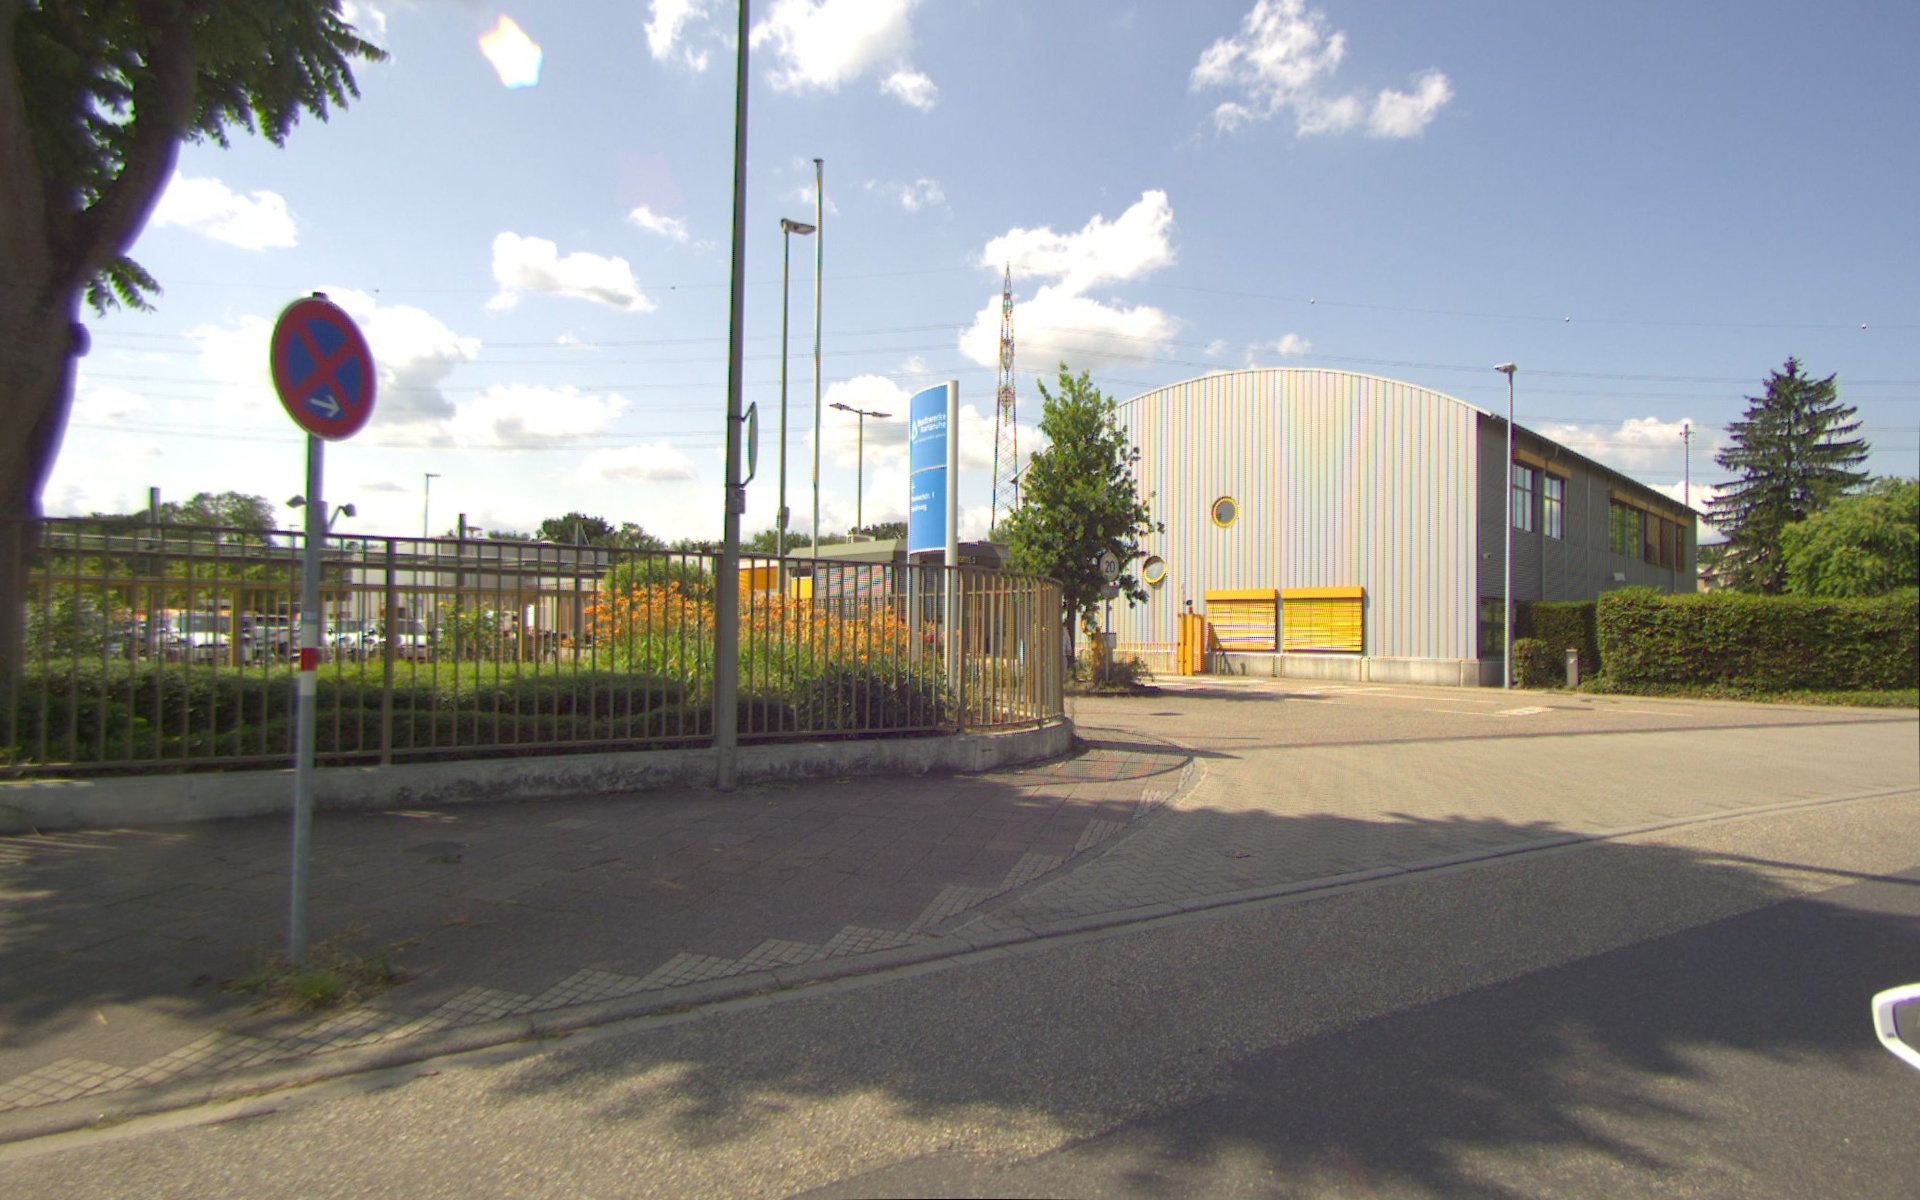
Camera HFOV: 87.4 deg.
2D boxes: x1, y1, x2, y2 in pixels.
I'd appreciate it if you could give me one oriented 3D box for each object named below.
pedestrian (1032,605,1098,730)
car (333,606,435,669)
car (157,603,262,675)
[{"bbox_3d":[1.492,0.956,14.292,0.724,1.714,0.546,3,-2,-25],"label":"pedestrian"},{"bbox_3d":[-17.683,1.113,30.776,1.737,1.711,3.947,2,-1,-45],"label":"car"},{"bbox_3d":[-20.196,1.000,26.973,1.737,1.711,3.947,2,-1,-45],"label":"car"}]
